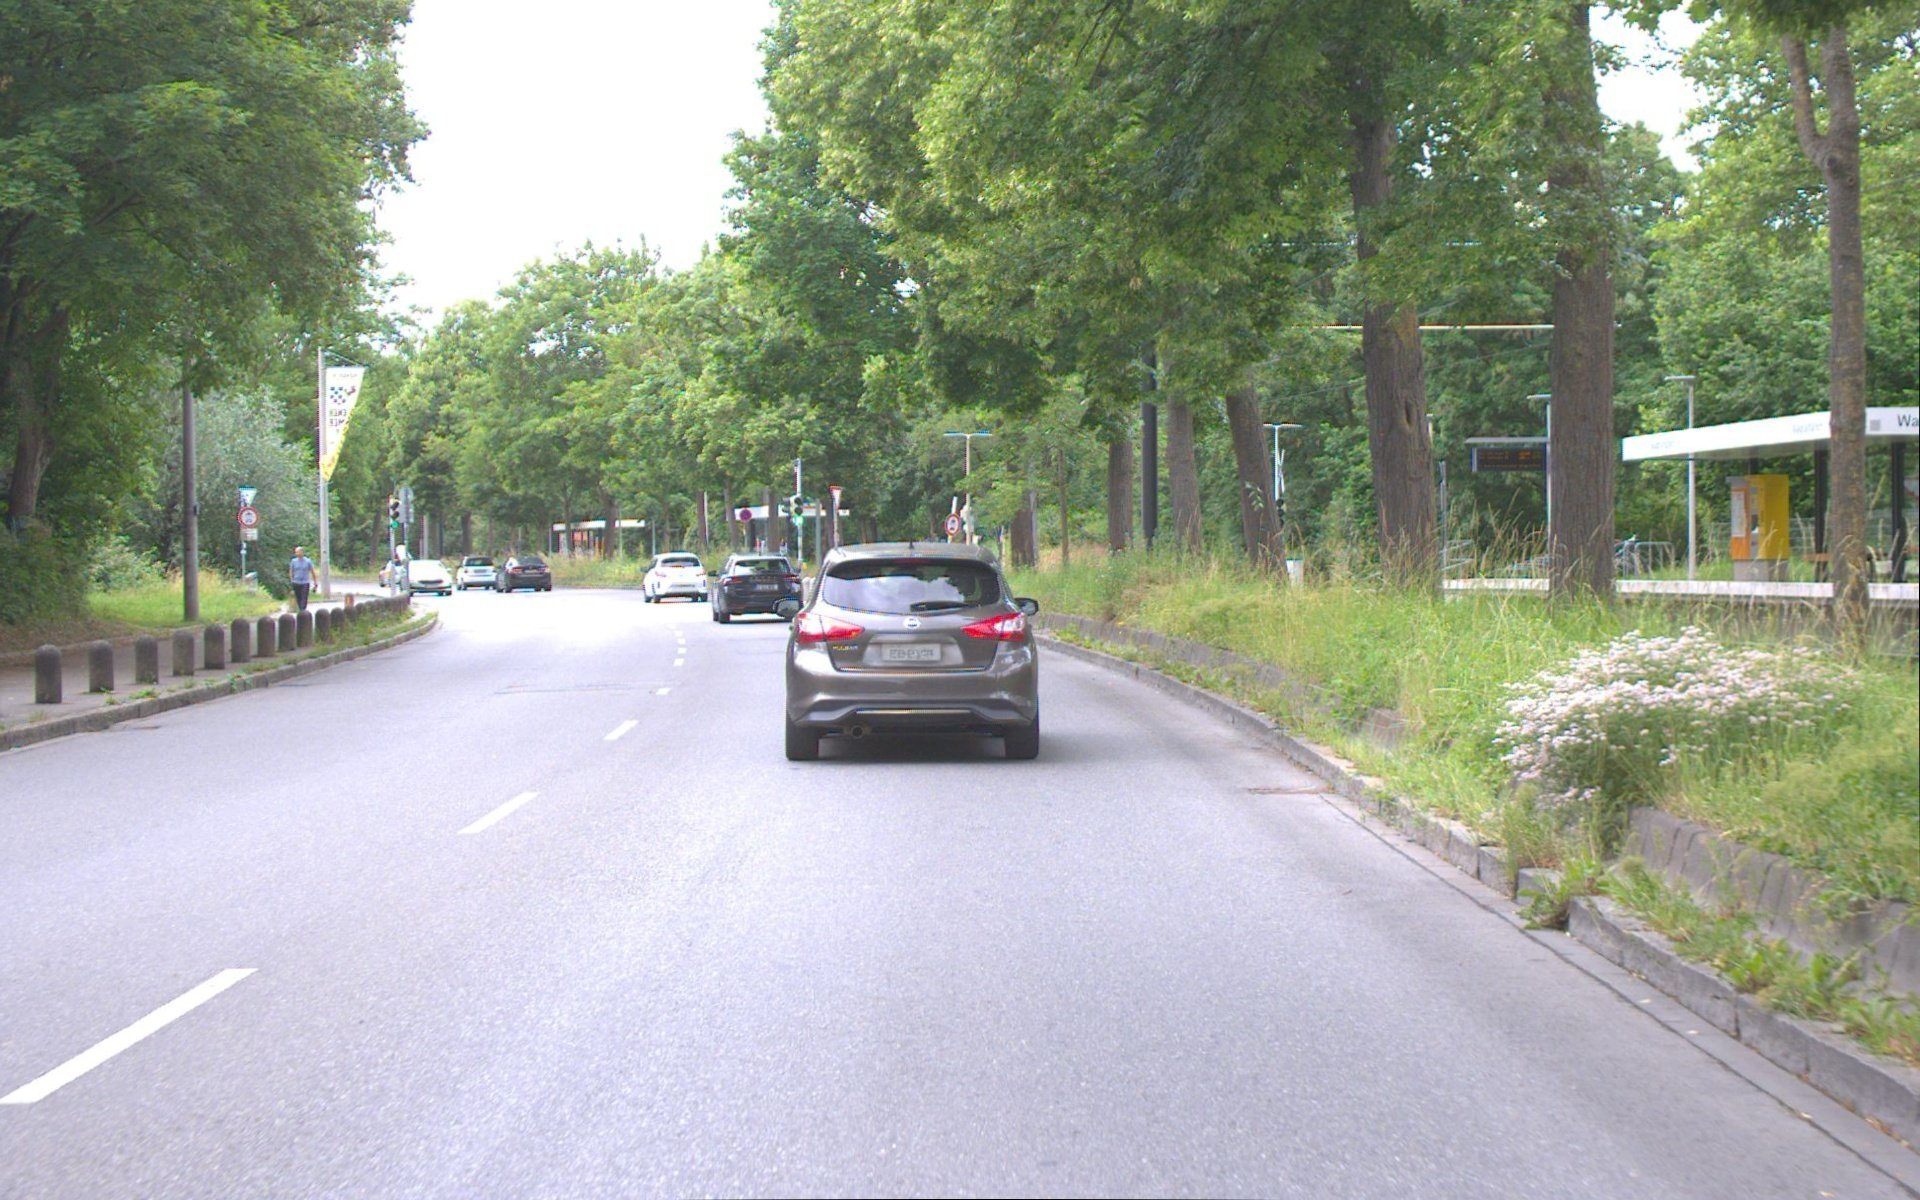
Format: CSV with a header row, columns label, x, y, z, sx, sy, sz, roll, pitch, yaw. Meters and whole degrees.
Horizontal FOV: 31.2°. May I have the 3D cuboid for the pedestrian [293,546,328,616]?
label,x,y,z,sx,sy,sz,roll,pitch,yaw
pedestrian,-15.211,-0.444,80.516,0.689,1.628,0.838,1,0,-6

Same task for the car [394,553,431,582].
label,x,y,z,sx,sy,sz,roll,pitch,yaw
car,-28.471,-1.707,178.839,1.775,1.467,4.001,1,0,-7

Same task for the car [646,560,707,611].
label,x,y,z,sx,sy,sz,roll,pitch,yaw
car,-8.514,-0.453,103.473,1.775,1.467,4.001,1,0,-4

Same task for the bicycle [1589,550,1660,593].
label,x,y,z,sx,sy,sz,roll,pitch,yaw
bicycle,15.214,-0.652,78.690,1.508,0.970,0.450,1,0,-8

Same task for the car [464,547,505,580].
label,x,y,z,sx,sy,sz,roll,pitch,yaw
car,-21.596,-1.649,156.241,1.775,1.467,4.001,0,1,-7

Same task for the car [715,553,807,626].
label,x,y,z,sx,sy,sz,roll,pitch,yaw
car,-4.147,-0.233,72.196,1.776,1.467,4.000,1,0,-1

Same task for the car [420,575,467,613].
label,x,y,z,sx,sy,sz,roll,pitch,yaw
car,-21.029,-0.265,140.109,1.773,1.434,4.362,-2,1,-7

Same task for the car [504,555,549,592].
label,x,y,z,sx,sy,sz,roll,pitch,yaw
car,-17.738,-1.077,140.690,1.775,1.467,4.001,1,1,-7

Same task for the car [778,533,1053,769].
label,x,y,z,sx,sy,sz,roll,pitch,yaw
car,-0.337,0.307,25.202,1.816,1.503,4.001,-2,2,-1
